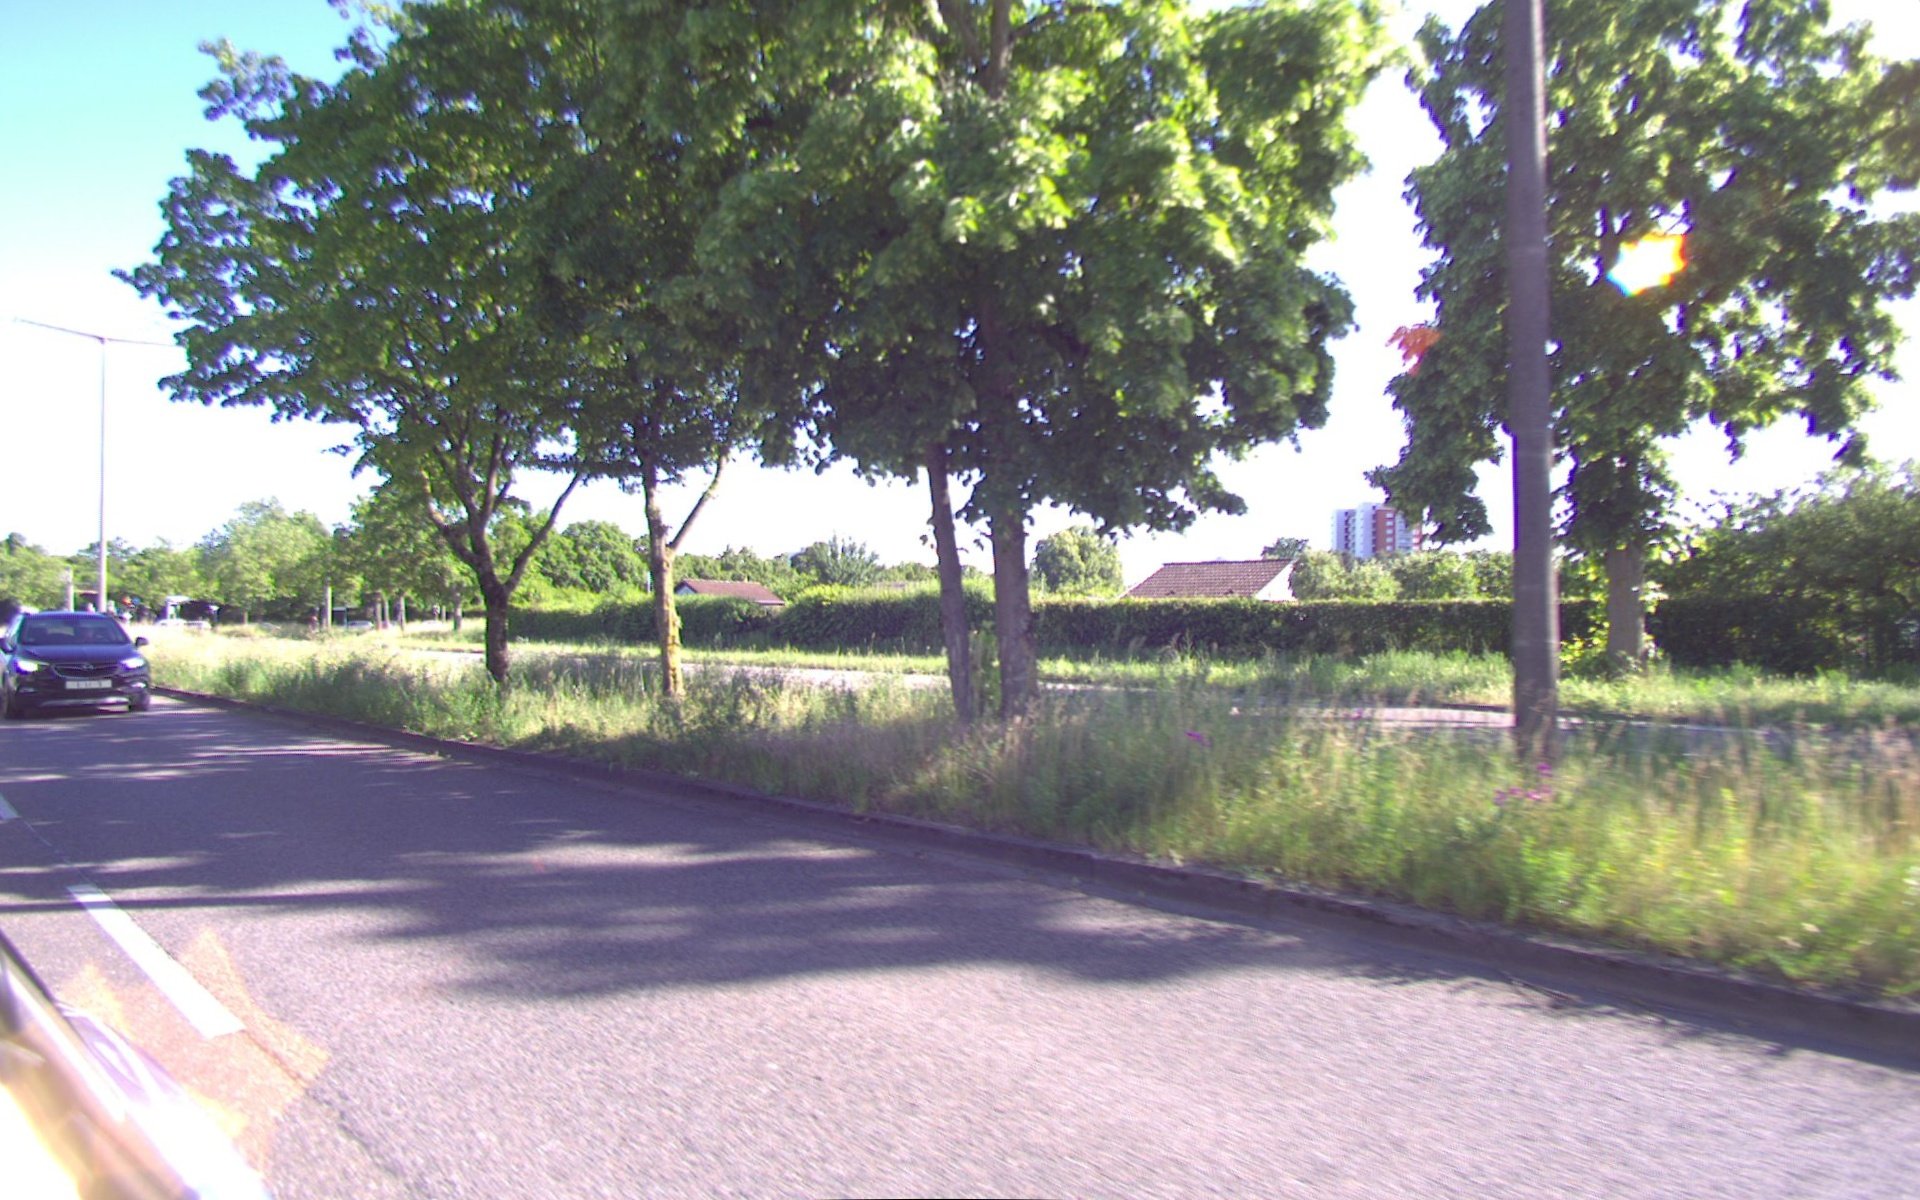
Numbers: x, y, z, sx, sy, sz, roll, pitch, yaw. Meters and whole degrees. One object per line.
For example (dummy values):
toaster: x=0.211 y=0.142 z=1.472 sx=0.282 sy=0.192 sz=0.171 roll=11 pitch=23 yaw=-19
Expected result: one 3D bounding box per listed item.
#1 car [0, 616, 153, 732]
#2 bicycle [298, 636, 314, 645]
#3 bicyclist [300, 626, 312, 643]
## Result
car: x=-14.704 y=1.134 z=16.532 sx=3.854 sy=1.675 sz=1.691 roll=-2 pitch=-3 yaw=41
bicycle: x=-49.225 y=3.049 z=76.144 sx=1.875 sy=0.700 sz=0.559 roll=-2 pitch=-2 yaw=43
bicyclist: x=-49.267 y=2.624 z=76.237 sx=0.575 sy=1.266 sz=0.577 roll=-2 pitch=-2 yaw=41
